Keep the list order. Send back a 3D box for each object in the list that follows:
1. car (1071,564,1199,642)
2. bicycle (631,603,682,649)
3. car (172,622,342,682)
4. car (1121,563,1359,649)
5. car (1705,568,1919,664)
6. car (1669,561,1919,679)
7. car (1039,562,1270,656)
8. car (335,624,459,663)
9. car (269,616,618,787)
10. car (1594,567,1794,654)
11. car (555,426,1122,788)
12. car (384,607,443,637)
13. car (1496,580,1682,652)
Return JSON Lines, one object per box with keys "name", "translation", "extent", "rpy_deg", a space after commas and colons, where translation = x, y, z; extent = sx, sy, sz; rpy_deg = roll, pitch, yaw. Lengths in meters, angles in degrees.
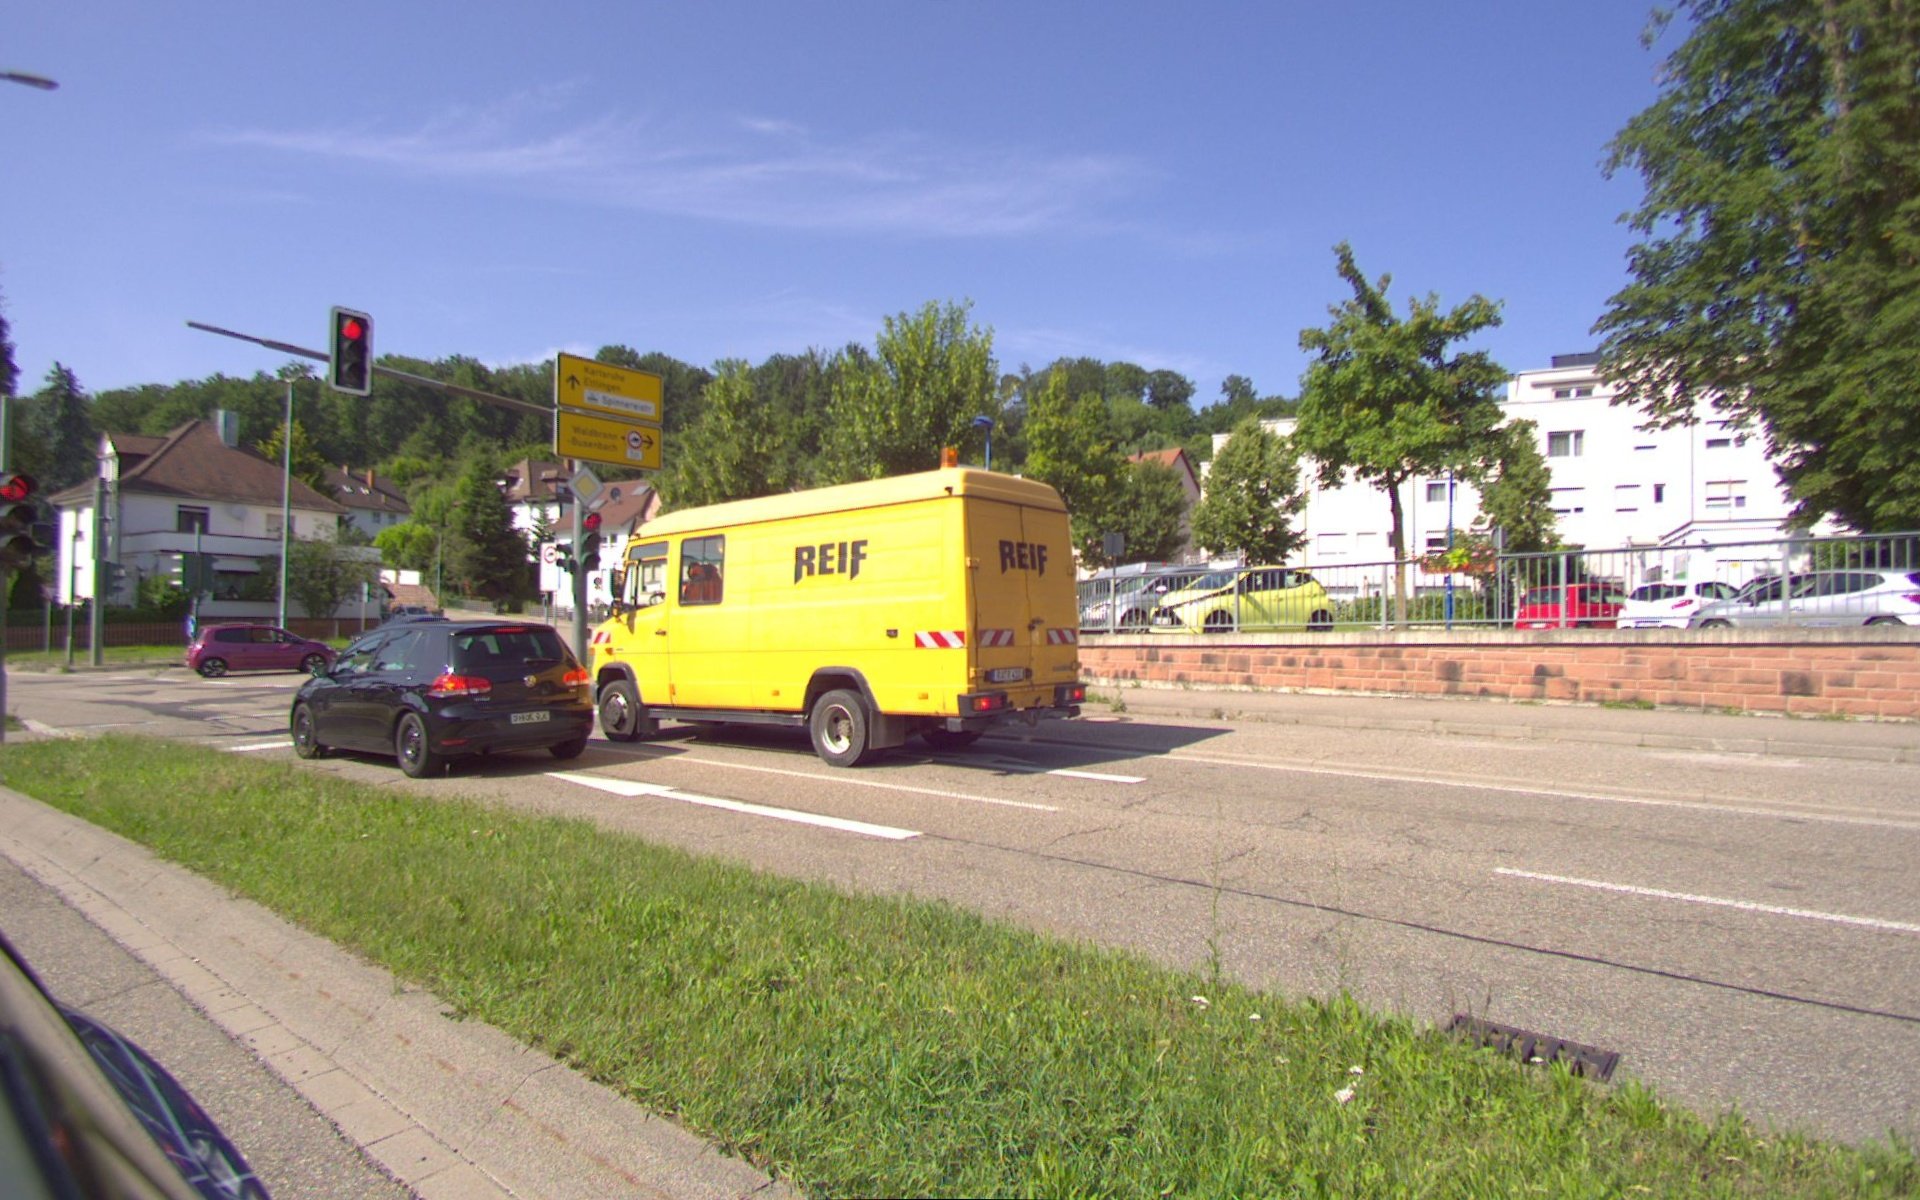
{"name": "car", "translation": [6.014, 0.135, 35.680], "extent": [2.064, 2.462, 5.801], "rpy_deg": [-2, 0, -16]}
{"name": "bicycle", "translation": [-9.335, 0.812, 31.095], "extent": [1.756, 1.265, 0.612], "rpy_deg": [-5, 1, 42]}
{"name": "car", "translation": [-20.039, 1.446, 28.904], "extent": [3.892, 1.545, 1.665], "rpy_deg": [0, -2, -39]}
{"name": "car", "translation": [5.305, 0.101, 19.235], "extent": [3.931, 1.392, 1.920], "rpy_deg": [-2, 0, -21]}
{"name": "car", "translation": [17.327, 0.281, 20.209], "extent": [3.931, 1.684, 2.006], "rpy_deg": [-2, -1, -19]}
{"name": "car", "translation": [14.857, 0.339, 17.364], "extent": [1.888, 1.803, 4.013], "rpy_deg": [0, -1, -21]}
{"name": "car", "translation": [4.147, 0.161, 21.681], "extent": [4.339, 1.709, 2.064], "rpy_deg": [-3, 1, -21]}
{"name": "car", "translation": [-24.964, 1.898, 45.094], "extent": [1.965, 1.495, 4.721], "rpy_deg": [-3, -1, 19]}
{"name": "car", "translation": [-5.529, 0.930, 10.651], "extent": [4.037, 1.474, 1.729], "rpy_deg": [-2, -2, 38]}
{"name": "car", "translation": [16.766, 0.231, 23.114], "extent": [3.931, 1.714, 1.920], "rpy_deg": [-3, -1, -24]}
{"name": "car", "translation": [-1.650, 0.099, 11.420], "extent": [6.456, 3.033, 2.444], "rpy_deg": [-1, 0, 38]}
{"name": "car", "translation": [-33.103, 1.361, 61.274], "extent": [3.999, 1.649, 1.914], "rpy_deg": [-3, -1, 42]}
{"name": "car", "translation": [15.733, 0.388, 25.346], "extent": [3.931, 1.571, 1.920], "rpy_deg": [-2, -1, -21]}
